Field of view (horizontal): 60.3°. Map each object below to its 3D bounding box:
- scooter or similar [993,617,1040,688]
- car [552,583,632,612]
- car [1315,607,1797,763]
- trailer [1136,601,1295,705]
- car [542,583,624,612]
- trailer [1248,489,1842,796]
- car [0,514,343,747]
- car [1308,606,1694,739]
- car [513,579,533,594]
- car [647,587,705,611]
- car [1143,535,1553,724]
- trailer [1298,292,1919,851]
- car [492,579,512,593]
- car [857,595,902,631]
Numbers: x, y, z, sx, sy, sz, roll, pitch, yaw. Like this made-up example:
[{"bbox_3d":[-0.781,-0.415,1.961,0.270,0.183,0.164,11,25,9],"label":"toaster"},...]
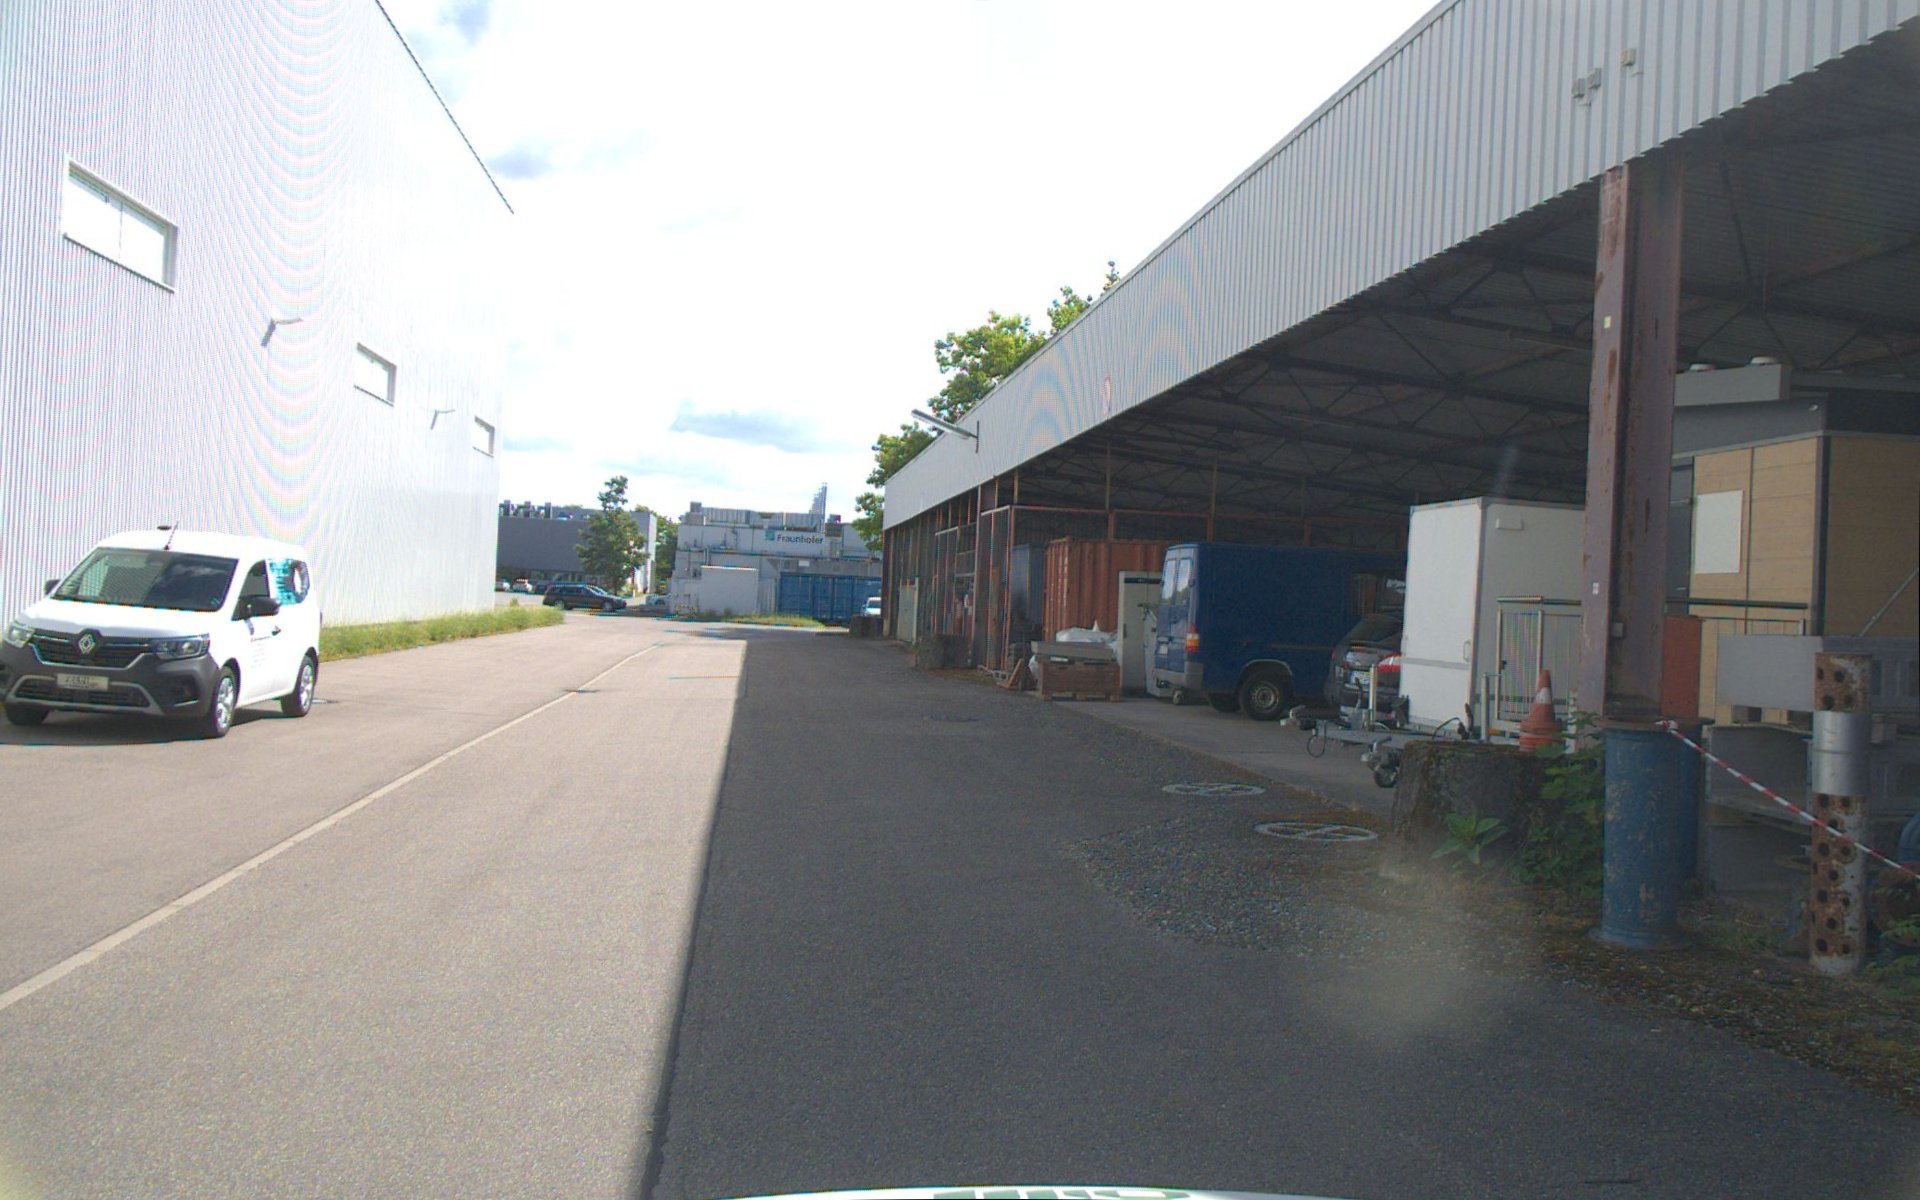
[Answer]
[{"bbox_3d":[0.960,0.879,28.220,0.510,1.154,1.589,2,-1,-8],"label":"scooter or similar"},{"bbox_3d":[-22.235,-0.127,100.053,4.444,1.468,1.900,3,-2,-8],"label":"car"},{"bbox_3d":[5.978,0.836,16.789,4.266,1.458,1.860,1,0,-11],"label":"car"},{"bbox_3d":[3.894,0.803,25.429,2.053,1.488,1.640,2,-1,-5],"label":"trailer"},{"bbox_3d":[-22.050,-0.126,96.794,4.444,1.468,1.984,3,-2,-8],"label":"car"},{"bbox_3d":[4.859,0.359,14.015,4.455,2.376,1.686,1,0,-7],"label":"trailer"},{"bbox_3d":[-7.567,0.239,15.978,1.892,1.821,4.590,4,0,-7],"label":"car"},{"bbox_3d":[6.450,0.848,19.938,4.030,1.479,1.847,1,0,-8],"label":"car"},{"bbox_3d":[-50.403,-1.551,190.620,1.843,1.564,4.026,1,0,-10],"label":"car"},{"bbox_3d":[-21.409,-0.059,124.857,4.198,1.596,1.984,3,-2,-8],"label":"car"},{"bbox_3d":[5.323,0.418,23.006,5.119,2.337,2.080,2,-1,-9],"label":"car"},{"bbox_3d":[7.751,-0.086,11.877,10.097,3.353,2.671,1,0,-7],"label":"trailer"},{"bbox_3d":[-52.637,-1.594,190.082,1.843,1.564,4.026,1,0,-10],"label":"car"},{"bbox_3d":[-4.238,0.649,86.600,1.944,1.621,4.333,3,1,-8],"label":"car"}]
